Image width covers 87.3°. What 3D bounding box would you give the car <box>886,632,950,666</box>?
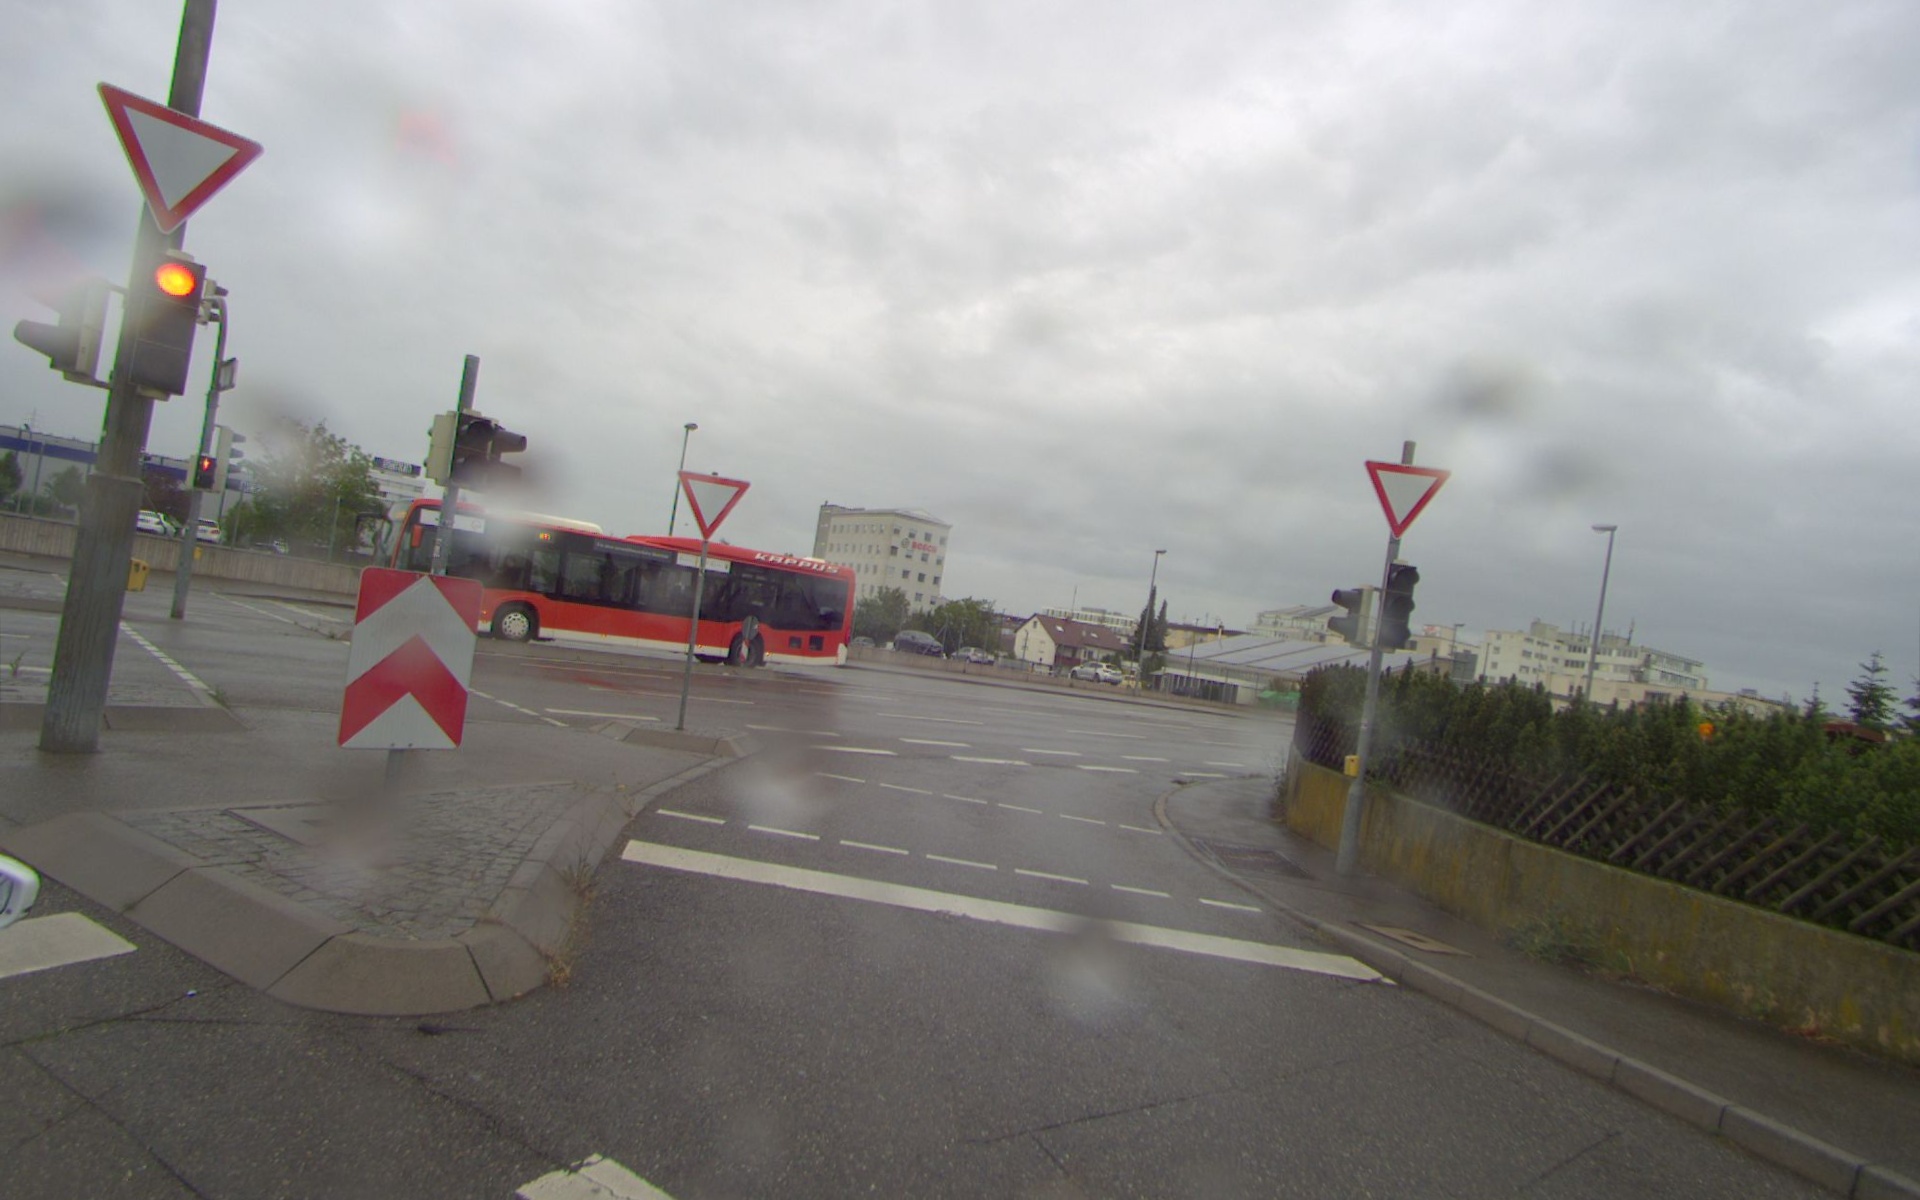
[{"bbox_3d":[-2.623,3.010,62.058,1.983,1.494,3.964,10,-2,-34],"label":"car"}]

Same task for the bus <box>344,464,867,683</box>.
[{"bbox_3d":[-8.443,-0.325,26.064,12.245,3.357,3.040,12,-3,-41],"label":"bus"}]

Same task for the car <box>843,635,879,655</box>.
[{"bbox_3d":[-9.935,4.468,100.694,1.979,1.494,3.971,9,-2,-29],"label":"car"}]

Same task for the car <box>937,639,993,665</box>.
[{"bbox_3d":[0.396,4.283,82.327,3.951,1.494,1.989,10,-2,-24],"label":"car"}]

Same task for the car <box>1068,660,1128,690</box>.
[{"bbox_3d":[9.584,5.192,70.155,1.979,1.494,3.971,9,-2,-29],"label":"car"}]

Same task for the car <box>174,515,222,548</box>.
[{"bbox_3d":[-44.034,-3.971,58.132,1.986,1.495,3.958,10,-2,-38],"label":"car"}]

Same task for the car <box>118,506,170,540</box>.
[{"bbox_3d":[-45.753,-4.299,56.465,1.985,1.495,3.958,10,-2,-38],"label":"car"}]

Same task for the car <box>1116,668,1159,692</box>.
[{"bbox_3d":[17.658,7.921,99.959,3.760,1.771,1.887,9,-2,-29],"label":"car"}]
